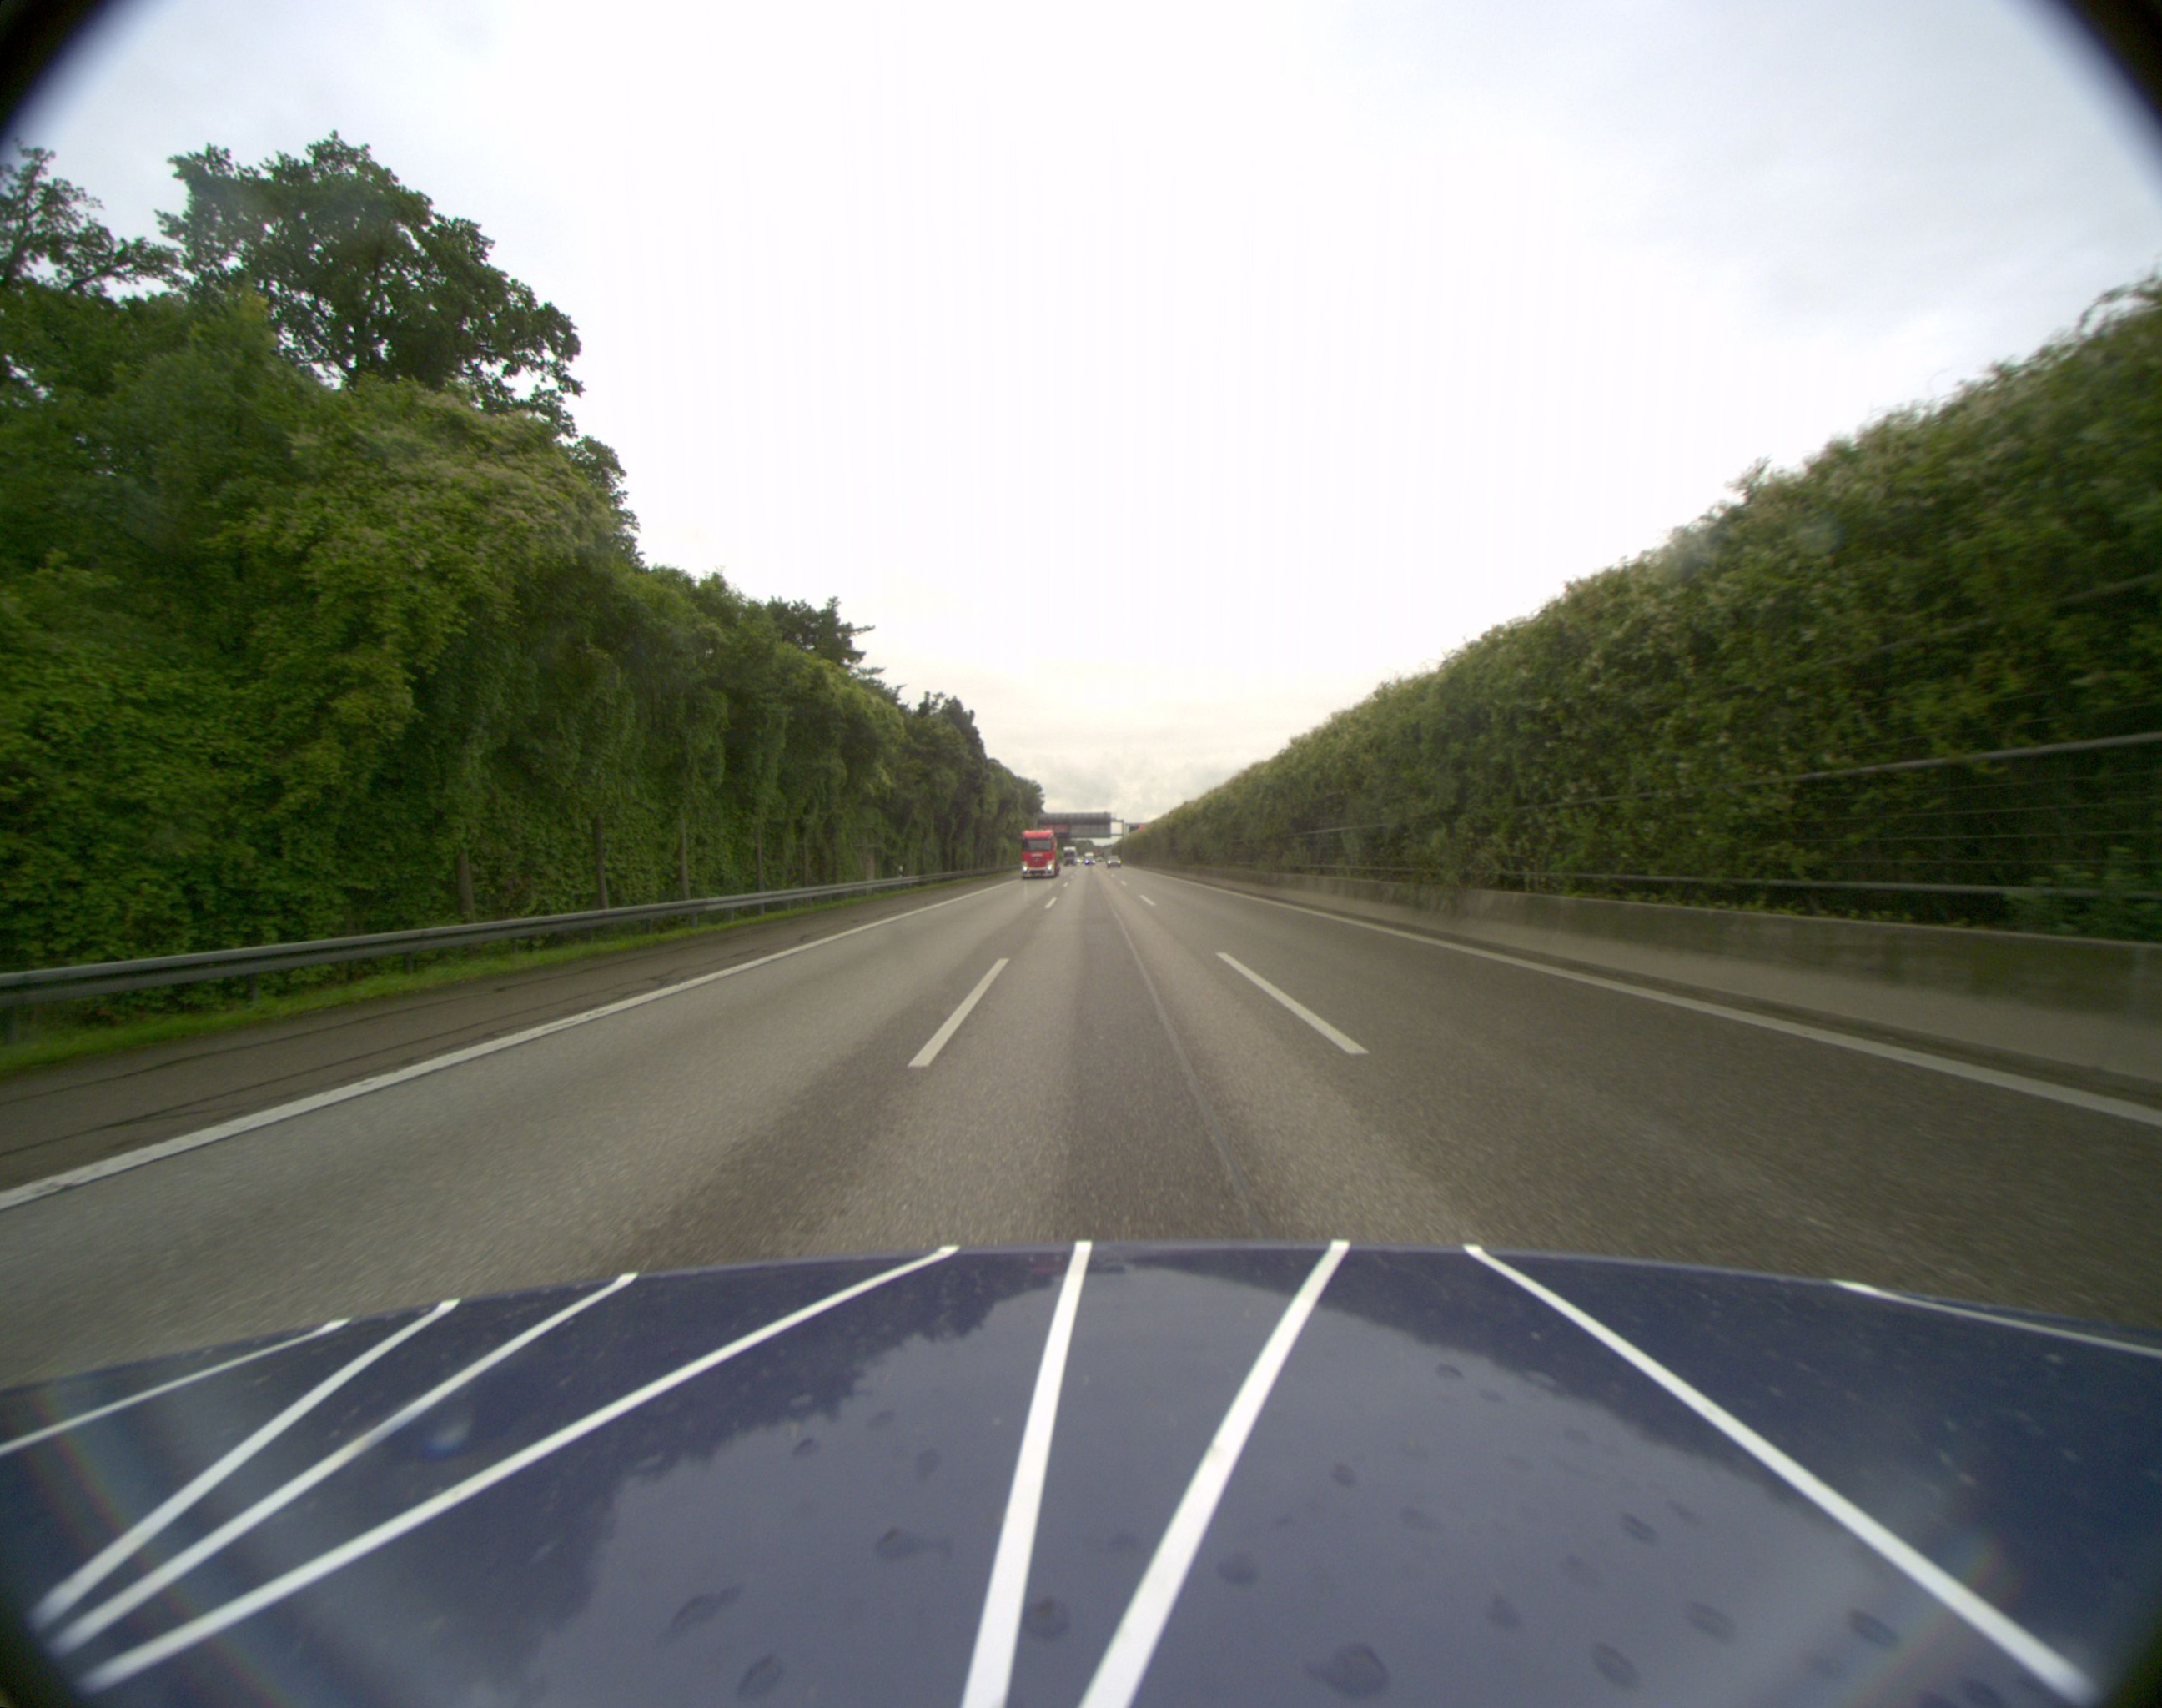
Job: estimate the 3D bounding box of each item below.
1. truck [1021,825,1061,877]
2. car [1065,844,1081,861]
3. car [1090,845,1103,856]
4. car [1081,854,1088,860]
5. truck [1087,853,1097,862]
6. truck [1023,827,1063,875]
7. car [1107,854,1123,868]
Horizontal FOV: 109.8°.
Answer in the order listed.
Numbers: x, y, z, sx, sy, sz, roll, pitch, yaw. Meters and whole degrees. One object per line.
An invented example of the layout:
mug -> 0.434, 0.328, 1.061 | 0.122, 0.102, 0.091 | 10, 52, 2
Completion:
truck -> -3.067, -0.261, 59.271 | 2.708, 3.809, 4.197 | -2, 2, 1
car -> -1.537, -0.311, 157.392 | 3.039, 3.278, 6.733 | -2, 1, 1
car -> 3.486, -0.789, 172.406 | 2.769, 2.227, 6.546 | -2, 1, 1
car -> 0.940, 0.840, 204.887 | 1.751, 1.368, 4.000 | -1, 0, 1
truck -> 2.193, 0.661, 149.143 | 1.825, 1.535, 3.999 | -2, 2, 3
truck -> -3.035, -0.370, 63.959 | 2.709, 3.690, 9.839 | -2, 2, 0
car -> 4.793, 0.972, 107.154 | 2.023, 1.595, 5.439 | -4, 1, 0
